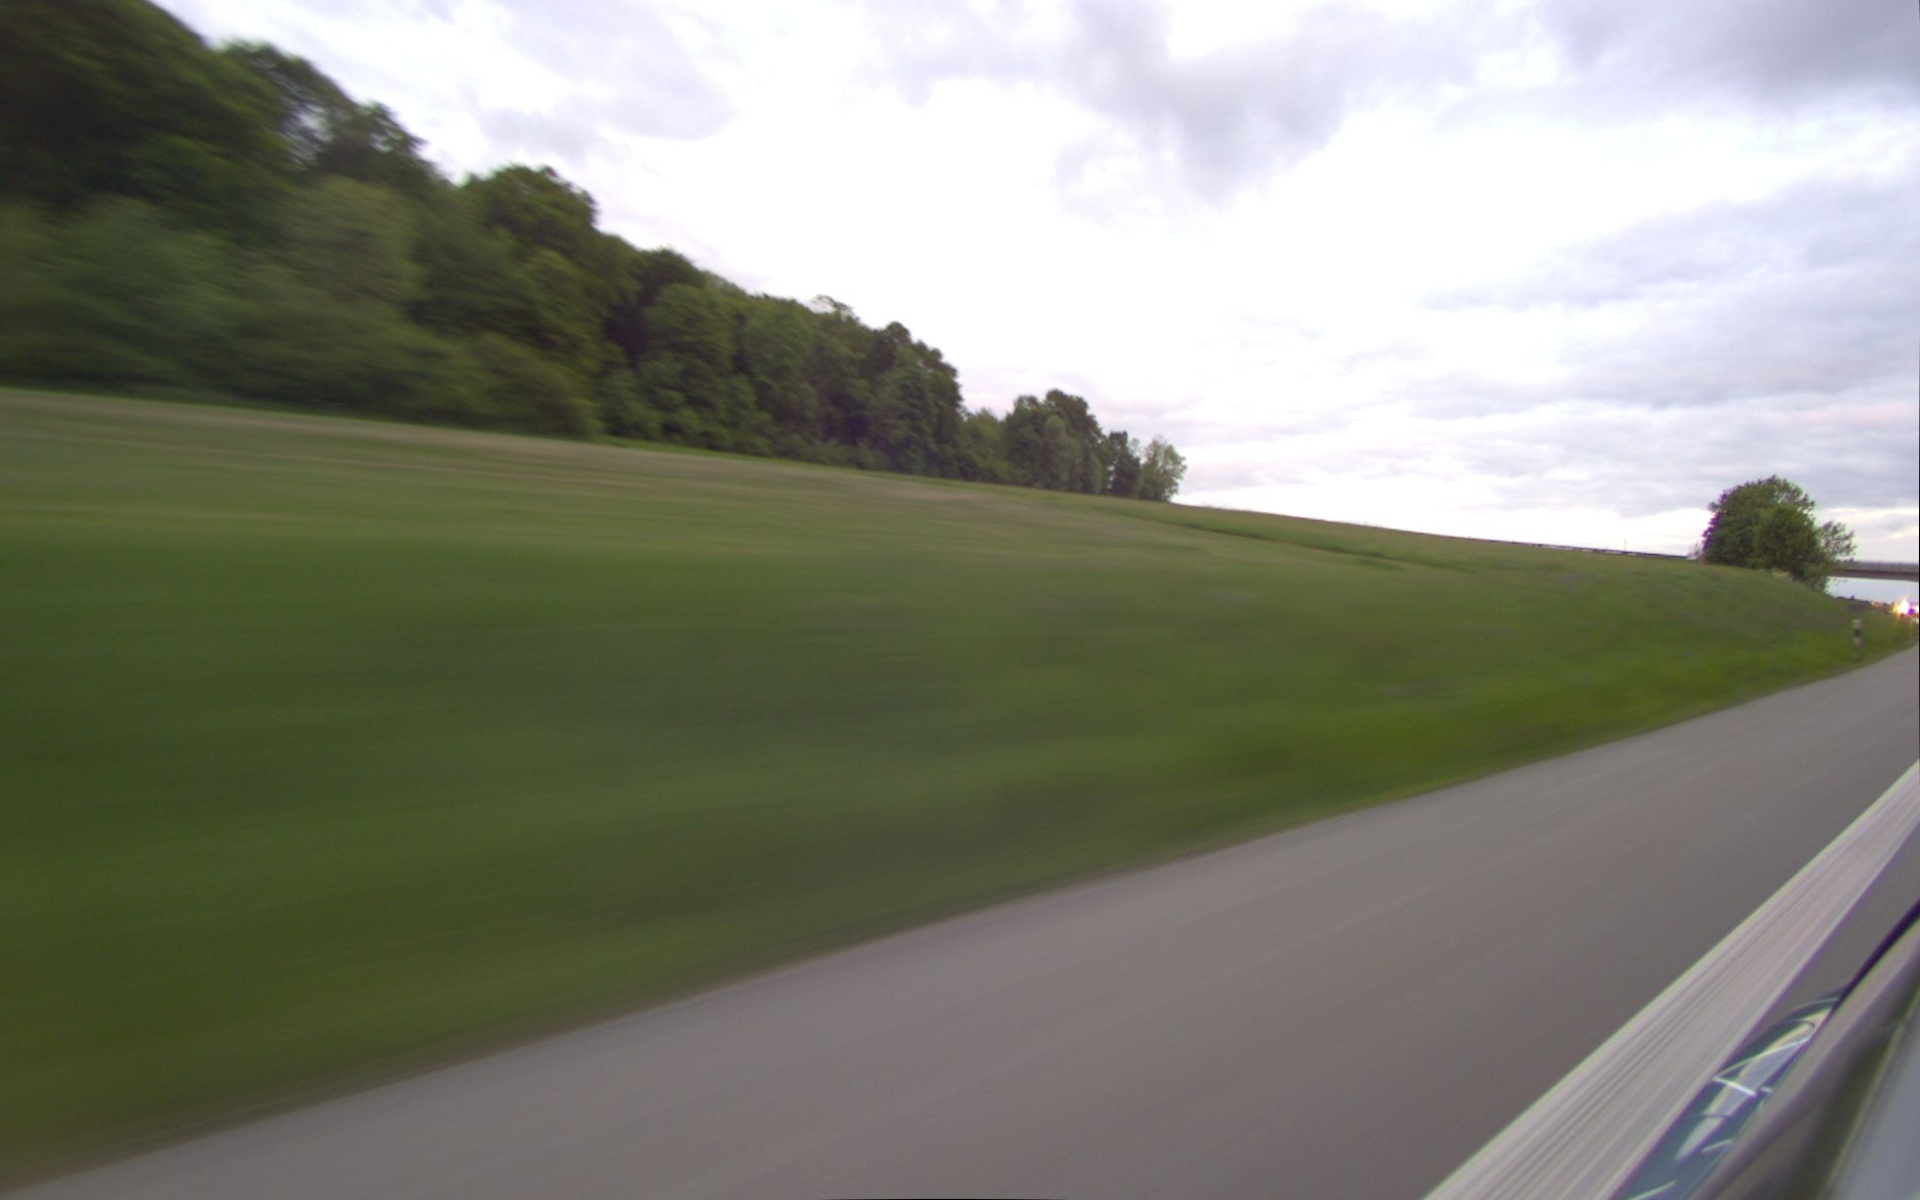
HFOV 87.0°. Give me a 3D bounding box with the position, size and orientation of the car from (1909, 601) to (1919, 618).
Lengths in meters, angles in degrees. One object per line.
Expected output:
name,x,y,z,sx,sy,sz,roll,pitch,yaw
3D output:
car,110.219,1.097,115.912,1.913,1.860,3.941,4,1,40
